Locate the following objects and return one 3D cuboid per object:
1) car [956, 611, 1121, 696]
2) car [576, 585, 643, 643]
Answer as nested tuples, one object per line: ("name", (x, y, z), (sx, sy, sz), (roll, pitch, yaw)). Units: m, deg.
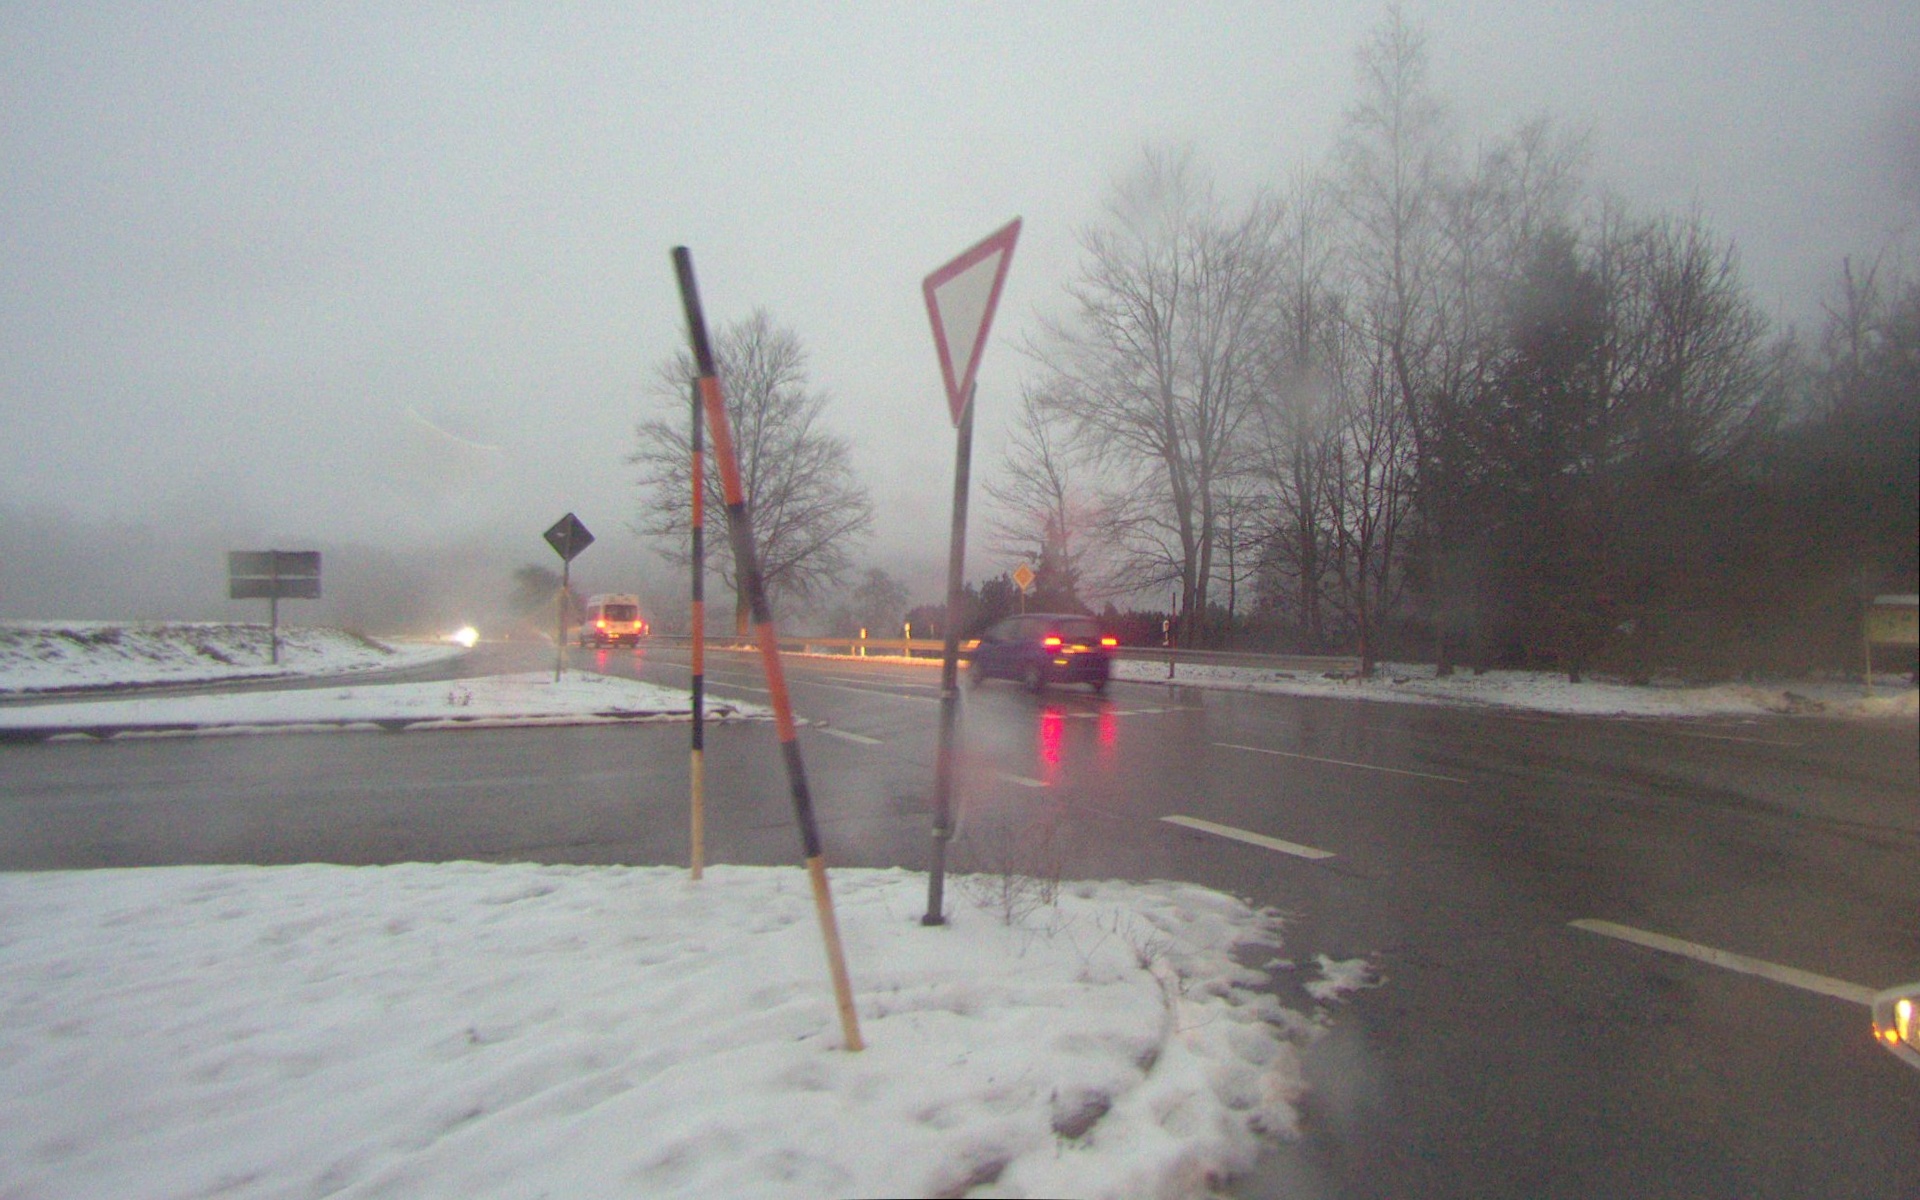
("car", (1.499, 1.039, 20.546), (1.675, 1.572, 3.832), (2, -2, -25))
("car", (-18.146, 0.675, 51.839), (2.129, 2.731, 5.482), (3, 0, -31))
